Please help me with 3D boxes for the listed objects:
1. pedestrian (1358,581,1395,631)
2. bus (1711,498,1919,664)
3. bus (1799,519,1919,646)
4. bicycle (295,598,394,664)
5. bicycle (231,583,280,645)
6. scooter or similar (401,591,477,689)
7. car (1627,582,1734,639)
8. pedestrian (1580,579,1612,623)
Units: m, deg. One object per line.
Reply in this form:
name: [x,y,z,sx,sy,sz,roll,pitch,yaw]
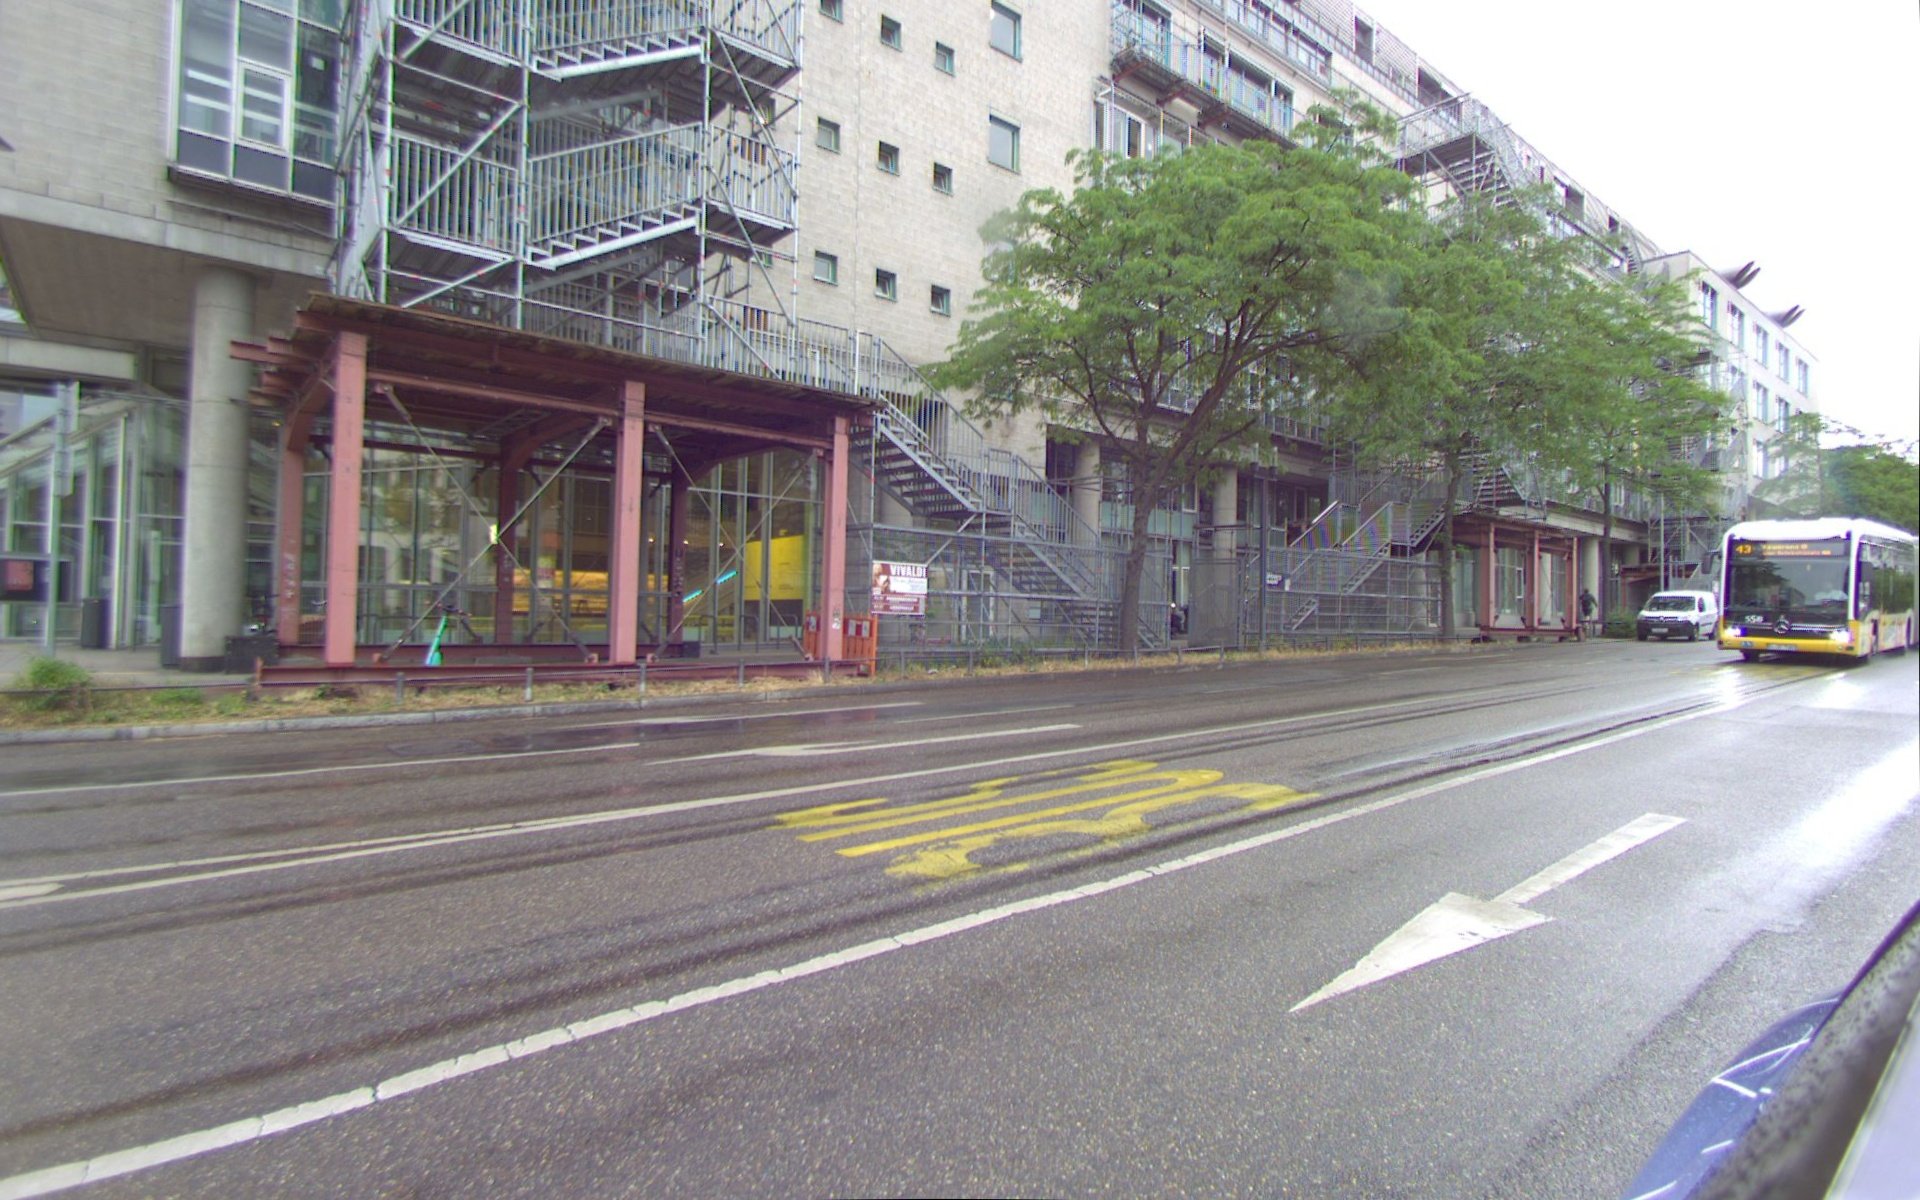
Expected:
pedestrian: [15.314,0.205,37.247,0.832,1.822,1.008,0,0,-44]
bus: [22.048,-0.451,25.604,9.586,3.494,2.888,-1,0,-41]
bus: [29.280,-0.542,31.848,9.541,3.483,2.888,-1,0,-41]
bicycle: [-11.979,0.575,19.741,0.580,1.209,1.602,0,0,24]
bicycle: [-14.448,0.271,20.750,0.577,1.209,1.611,0,0,-44]
scooter or similar: [-6.932,0.489,13.417,0.576,1.209,1.782,1,0,-38]
car: [26.076,0.321,36.589,4.254,1.930,2.211,-1,0,-41]
pedestrian: [29.539,0.029,47.022,1.021,2.039,1.009,0,0,-41]
